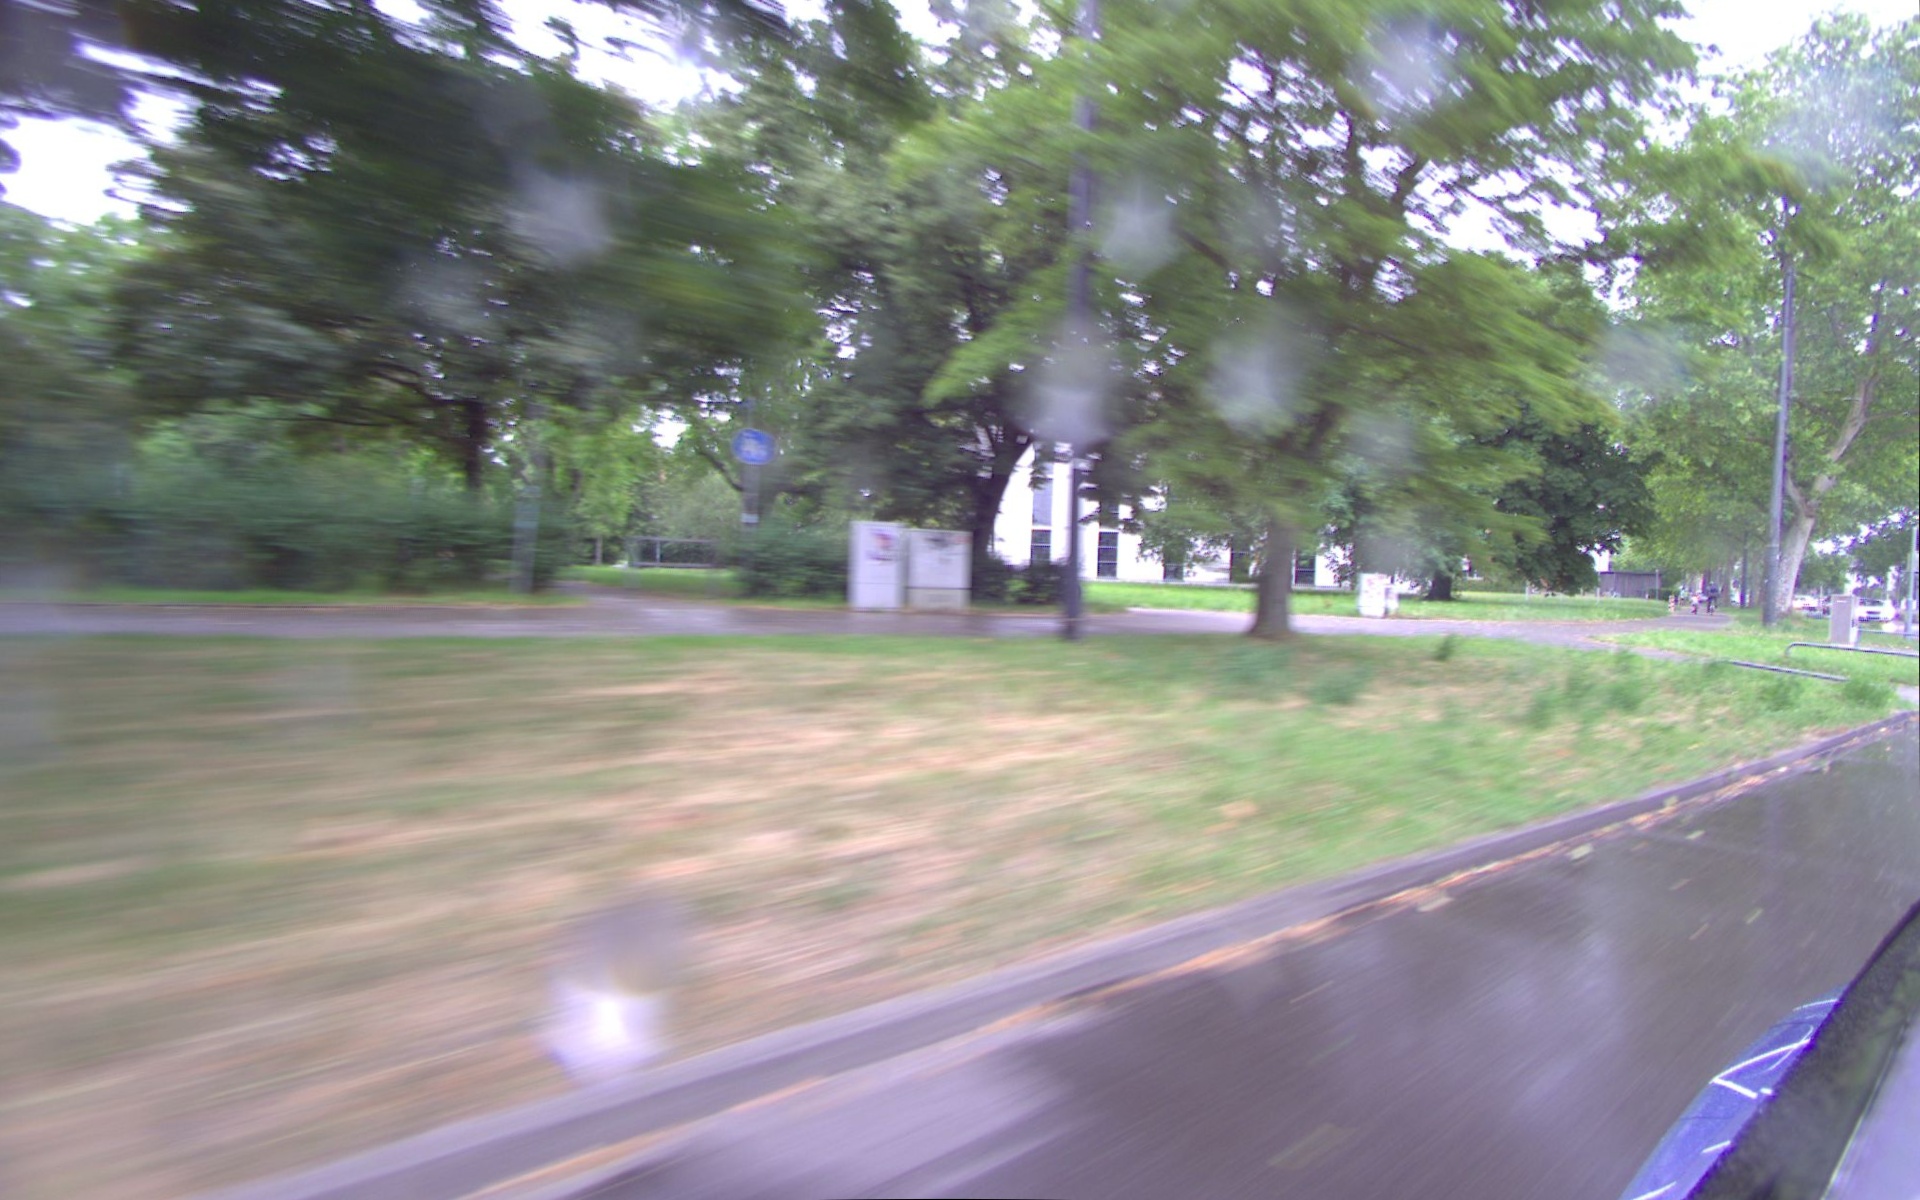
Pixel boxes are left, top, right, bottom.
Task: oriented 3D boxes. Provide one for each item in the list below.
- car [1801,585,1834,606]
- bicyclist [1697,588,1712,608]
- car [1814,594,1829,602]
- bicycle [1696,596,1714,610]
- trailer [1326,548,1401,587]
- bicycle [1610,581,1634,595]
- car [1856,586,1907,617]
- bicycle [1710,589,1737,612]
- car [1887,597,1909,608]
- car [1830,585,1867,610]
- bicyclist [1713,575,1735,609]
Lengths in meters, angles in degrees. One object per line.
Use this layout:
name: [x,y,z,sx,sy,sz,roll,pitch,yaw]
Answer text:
car: [78.287,-0.460,92.406,1.757,1.746,3.887,4,3,34]
bicyclist: [39.891,-0.111,54.210,0.581,1.051,0.487,0,3,-42]
car: [161.866,-0.410,190.159,1.749,1.535,3.804,0,0,36]
bicycle: [39.907,0.164,54.234,1.433,0.717,0.487,0,3,-43]
trailer: [26.037,-2.088,65.376,3.942,2.337,1.894,2,2,-2]
bicycle: [60.121,-1.106,91.921,1.898,1.135,0.522,3,3,-10]
car: [54.149,0.055,59.515,1.759,1.746,3.883,2,2,37]
bicycle: [40.500,0.027,53.674,1.938,1.156,0.713,-1,3,-41]
car: [129.824,0.314,140.124,1.749,1.535,3.804,0,0,36]
car: [67.879,-0.240,77.339,1.759,1.746,3.882,4,3,37]
bicyclist: [40.489,-0.428,53.635,0.940,1.742,0.713,0,3,-41]
